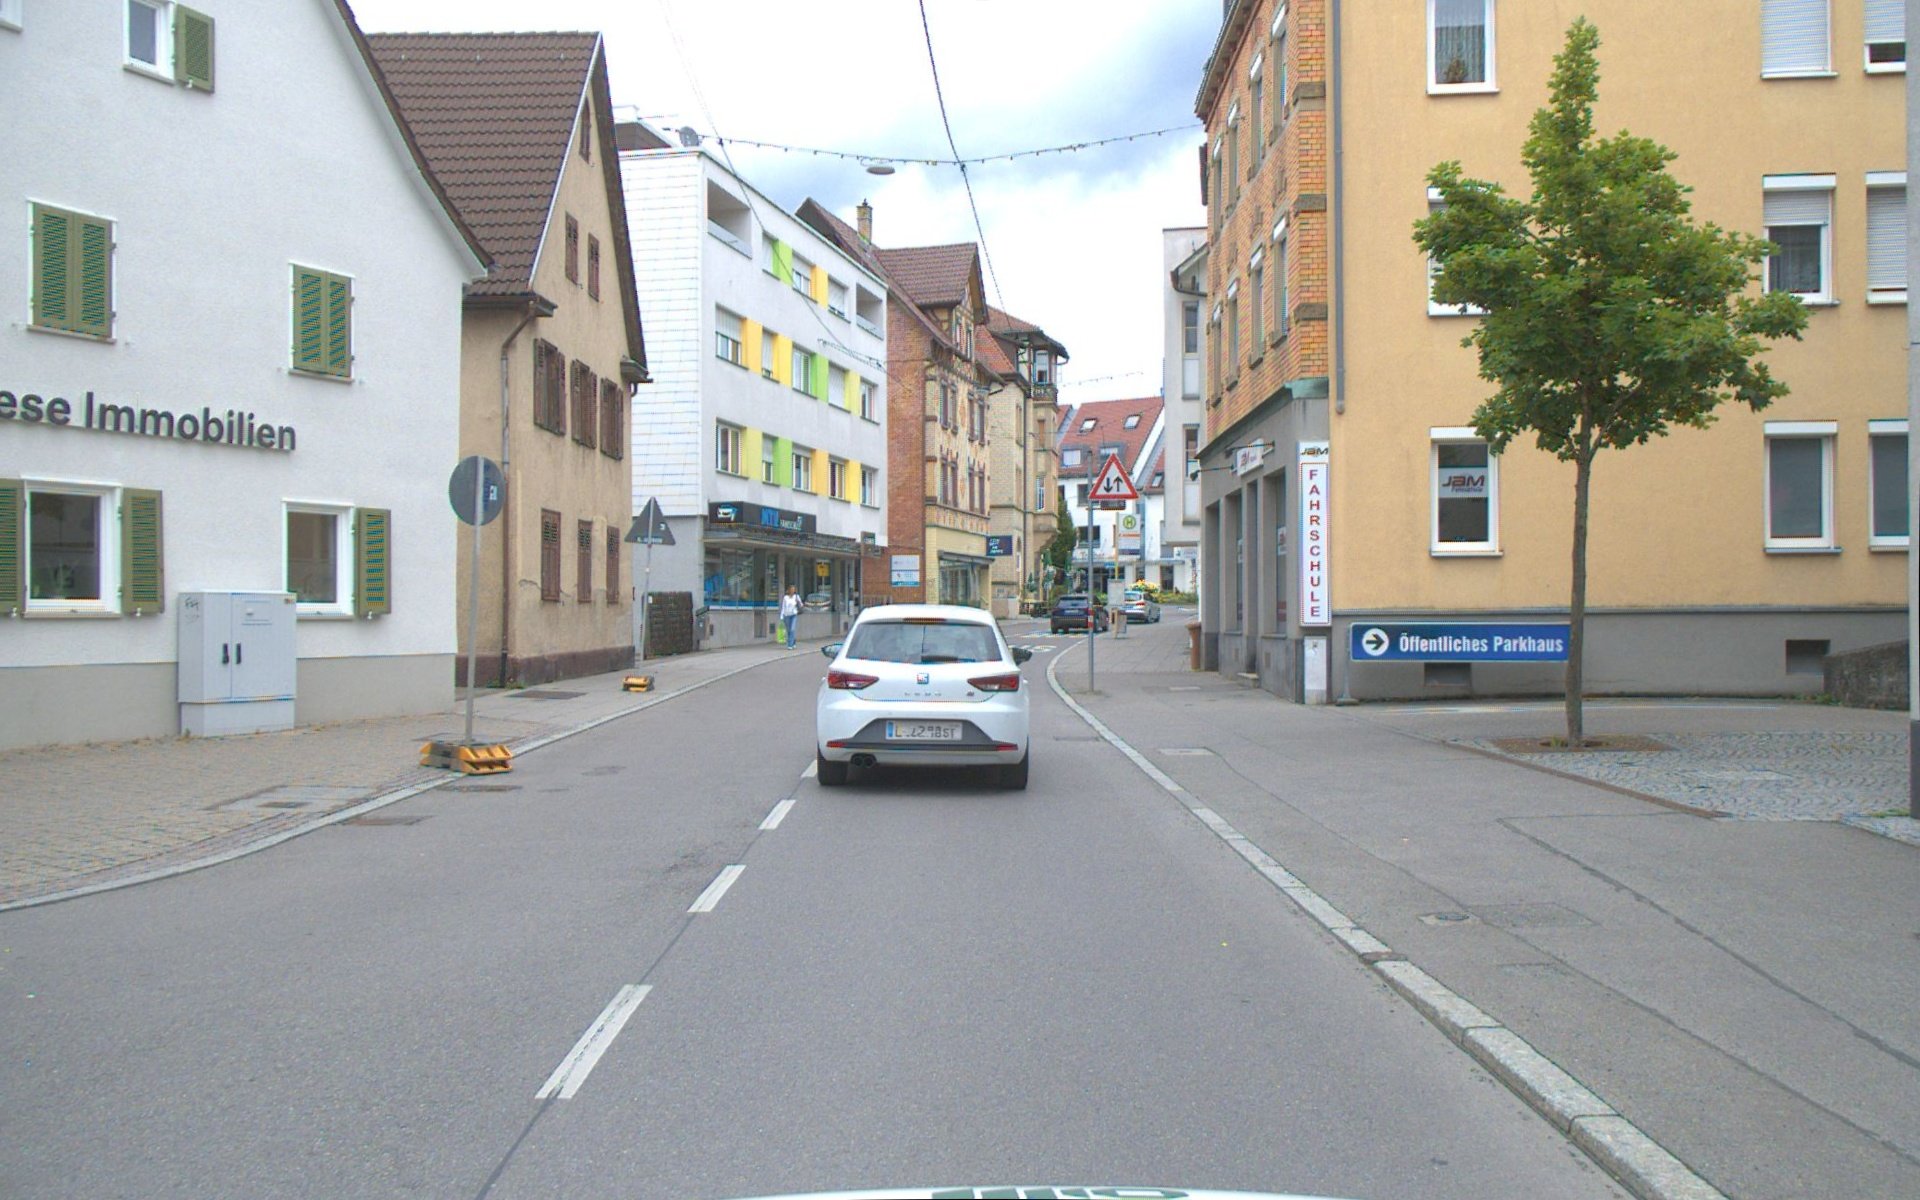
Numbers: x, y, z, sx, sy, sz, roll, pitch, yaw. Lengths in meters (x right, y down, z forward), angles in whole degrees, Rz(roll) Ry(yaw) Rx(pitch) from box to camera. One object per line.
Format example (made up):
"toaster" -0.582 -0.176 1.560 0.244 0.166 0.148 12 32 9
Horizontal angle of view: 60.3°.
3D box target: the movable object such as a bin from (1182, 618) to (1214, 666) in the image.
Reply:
"movable object such as a bin" 4.783 0.843 33.257 0.606 0.937 0.582 0 0 5

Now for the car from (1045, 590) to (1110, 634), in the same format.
"car" 4.374 0.408 61.135 1.773 1.506 3.874 0 1 13

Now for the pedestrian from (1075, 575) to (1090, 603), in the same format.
"pedestrian" 6.781 -0.610 91.655 0.816 1.579 0.628 0 0 6

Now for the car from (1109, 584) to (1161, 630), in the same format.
"car" 8.061 0.288 75.935 1.951 2.049 4.003 0 0 12

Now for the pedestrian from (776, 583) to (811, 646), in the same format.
"pedestrian" -4.538 0.399 45.076 0.874 1.694 0.861 0 0 -2

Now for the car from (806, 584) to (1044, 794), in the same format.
"car" -0.199 0.653 14.433 1.774 1.506 3.872 1 1 2
